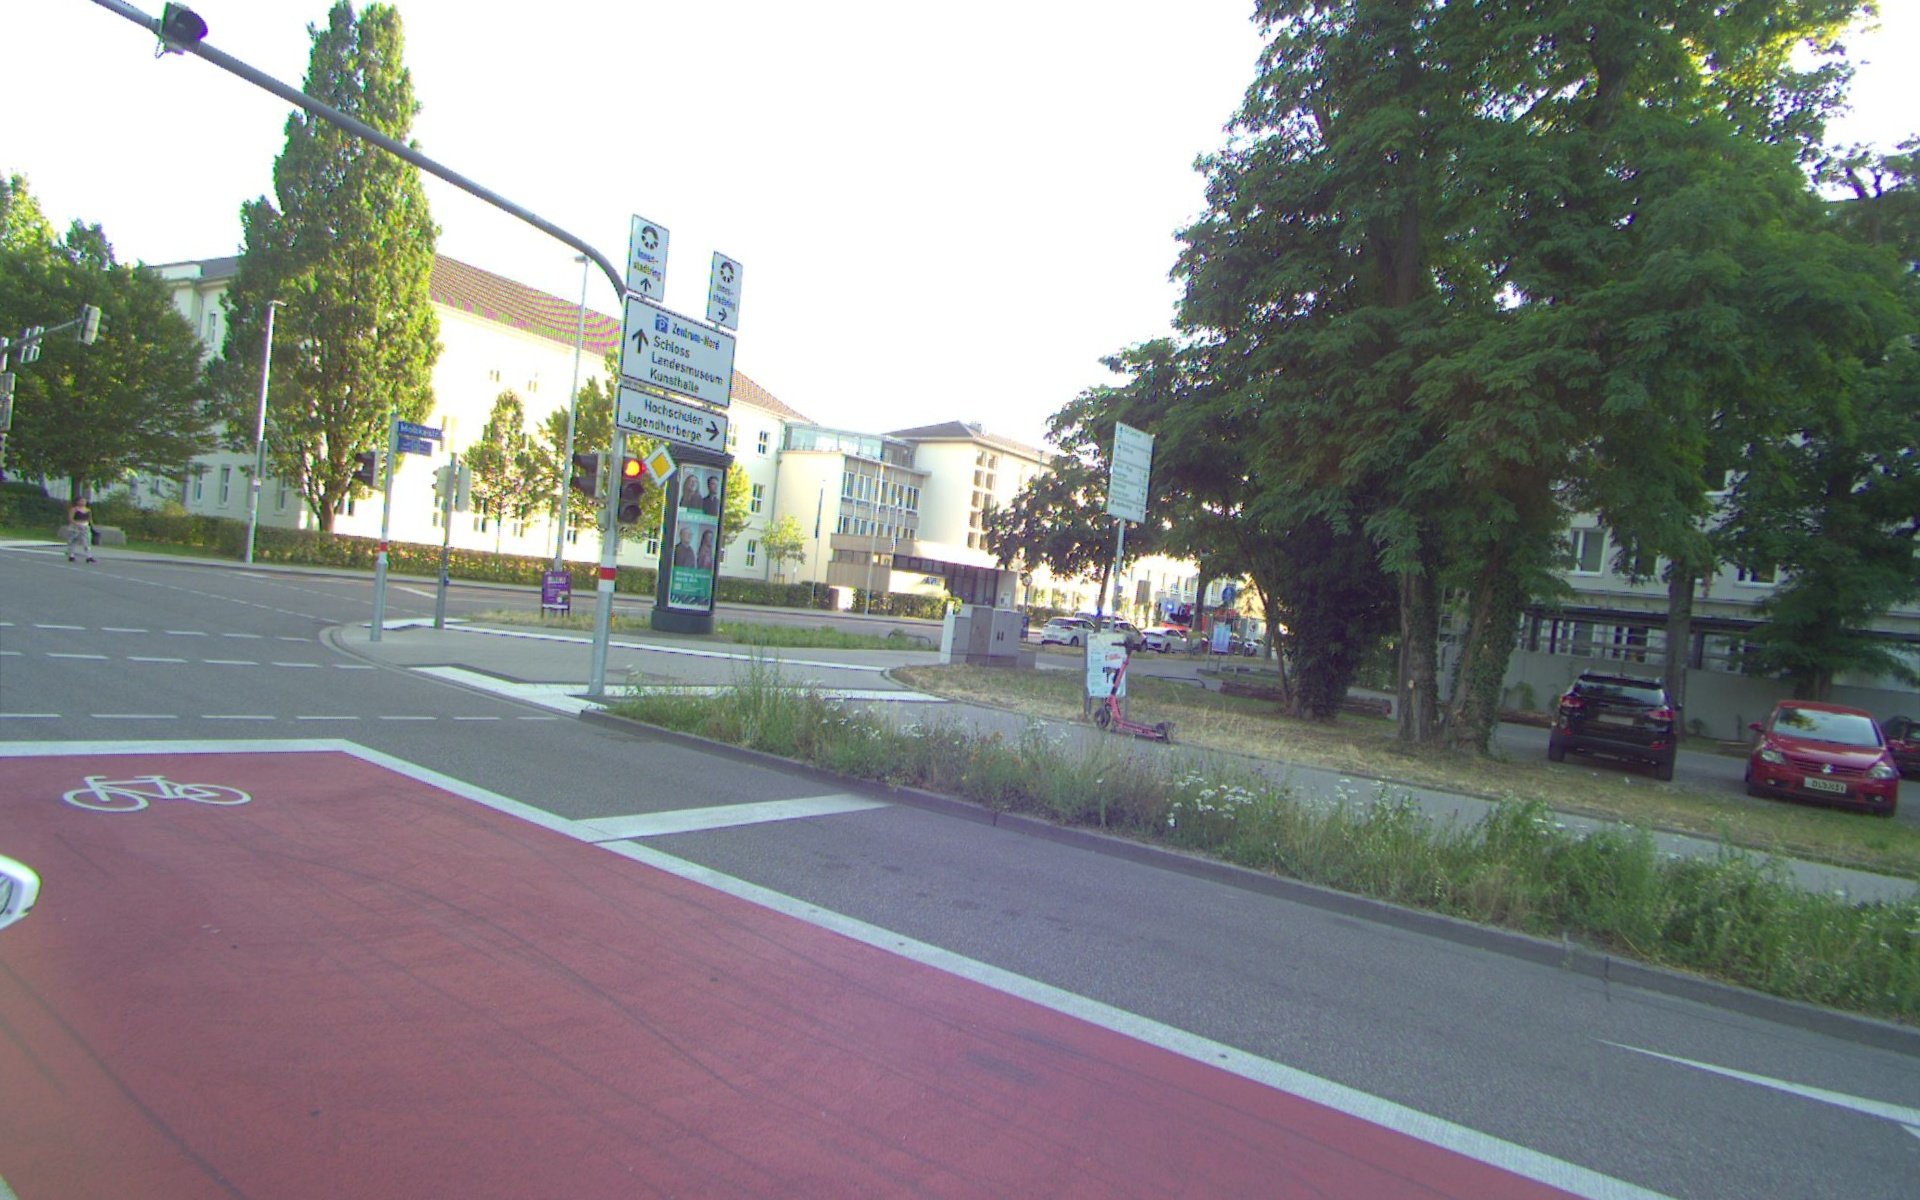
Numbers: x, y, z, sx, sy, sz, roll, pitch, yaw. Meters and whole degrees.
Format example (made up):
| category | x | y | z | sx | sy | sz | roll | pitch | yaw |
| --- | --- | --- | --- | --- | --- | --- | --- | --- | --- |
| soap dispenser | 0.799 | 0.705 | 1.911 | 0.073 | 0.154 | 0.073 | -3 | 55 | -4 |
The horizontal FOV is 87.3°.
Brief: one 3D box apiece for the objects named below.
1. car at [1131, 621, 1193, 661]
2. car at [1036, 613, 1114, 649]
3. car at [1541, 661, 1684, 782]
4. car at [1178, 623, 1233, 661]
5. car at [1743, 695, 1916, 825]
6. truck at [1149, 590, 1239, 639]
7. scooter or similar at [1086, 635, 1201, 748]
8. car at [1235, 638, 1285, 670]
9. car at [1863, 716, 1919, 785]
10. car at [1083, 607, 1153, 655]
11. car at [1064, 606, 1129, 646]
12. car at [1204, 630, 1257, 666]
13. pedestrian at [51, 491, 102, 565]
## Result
| category | x | y | z | sx | sy | sz | roll | pitch | yaw |
| --- | --- | --- | --- | --- | --- | --- | --- | --- | --- |
| car | 11.073 | 2.276 | 55.096 | 1.720 | 1.783 | 3.989 | 7 | -1 | 35 |
| car | 5.477 | 1.495 | 47.698 | 1.793 | 1.358 | 3.985 | 6 | 0 | 37 |
| car | 11.762 | 2.124 | 18.054 | 1.808 | 1.715 | 3.899 | 7 | -1 | 36 |
| car | 14.606 | 2.504 | 59.719 | 1.698 | 1.879 | 3.989 | 7 | -1 | 35 |
| car | 13.990 | 2.470 | 16.393 | 1.759 | 1.581 | 3.984 | 7 | 0 | 38 |
| truck | 15.862 | 1.070 | 67.453 | 2.327 | 2.315 | 10.049 | 7 | -1 | 34 |
| scooter or similar | 2.326 | 1.142 | 12.798 | 1.289 | 1.247 | 0.311 | 7 | 1 | 32 |
| car | 20.371 | 3.670 | 68.226 | 1.873 | 1.831 | 3.988 | 7 | -1 | 36 |
| car | 23.176 | 3.644 | 24.023 | 1.873 | 1.459 | 3.987 | 7 | -1 | 37 |
| car | 8.065 | 1.589 | 51.179 | 1.713 | 2.038 | 3.988 | 7 | -1 | 36 |
| car | 7.493 | 1.457 | 55.089 | 1.720 | 1.783 | 3.989 | 7 | -1 | 35 |
| car | 17.222 | 3.042 | 63.848 | 1.789 | 1.893 | 4.136 | 7 | -1 | 35 |
| pedestrian | -21.446 | -1.745 | 24.424 | 0.679 | 1.656 | 0.601 | 7 | 1 | 27 |
